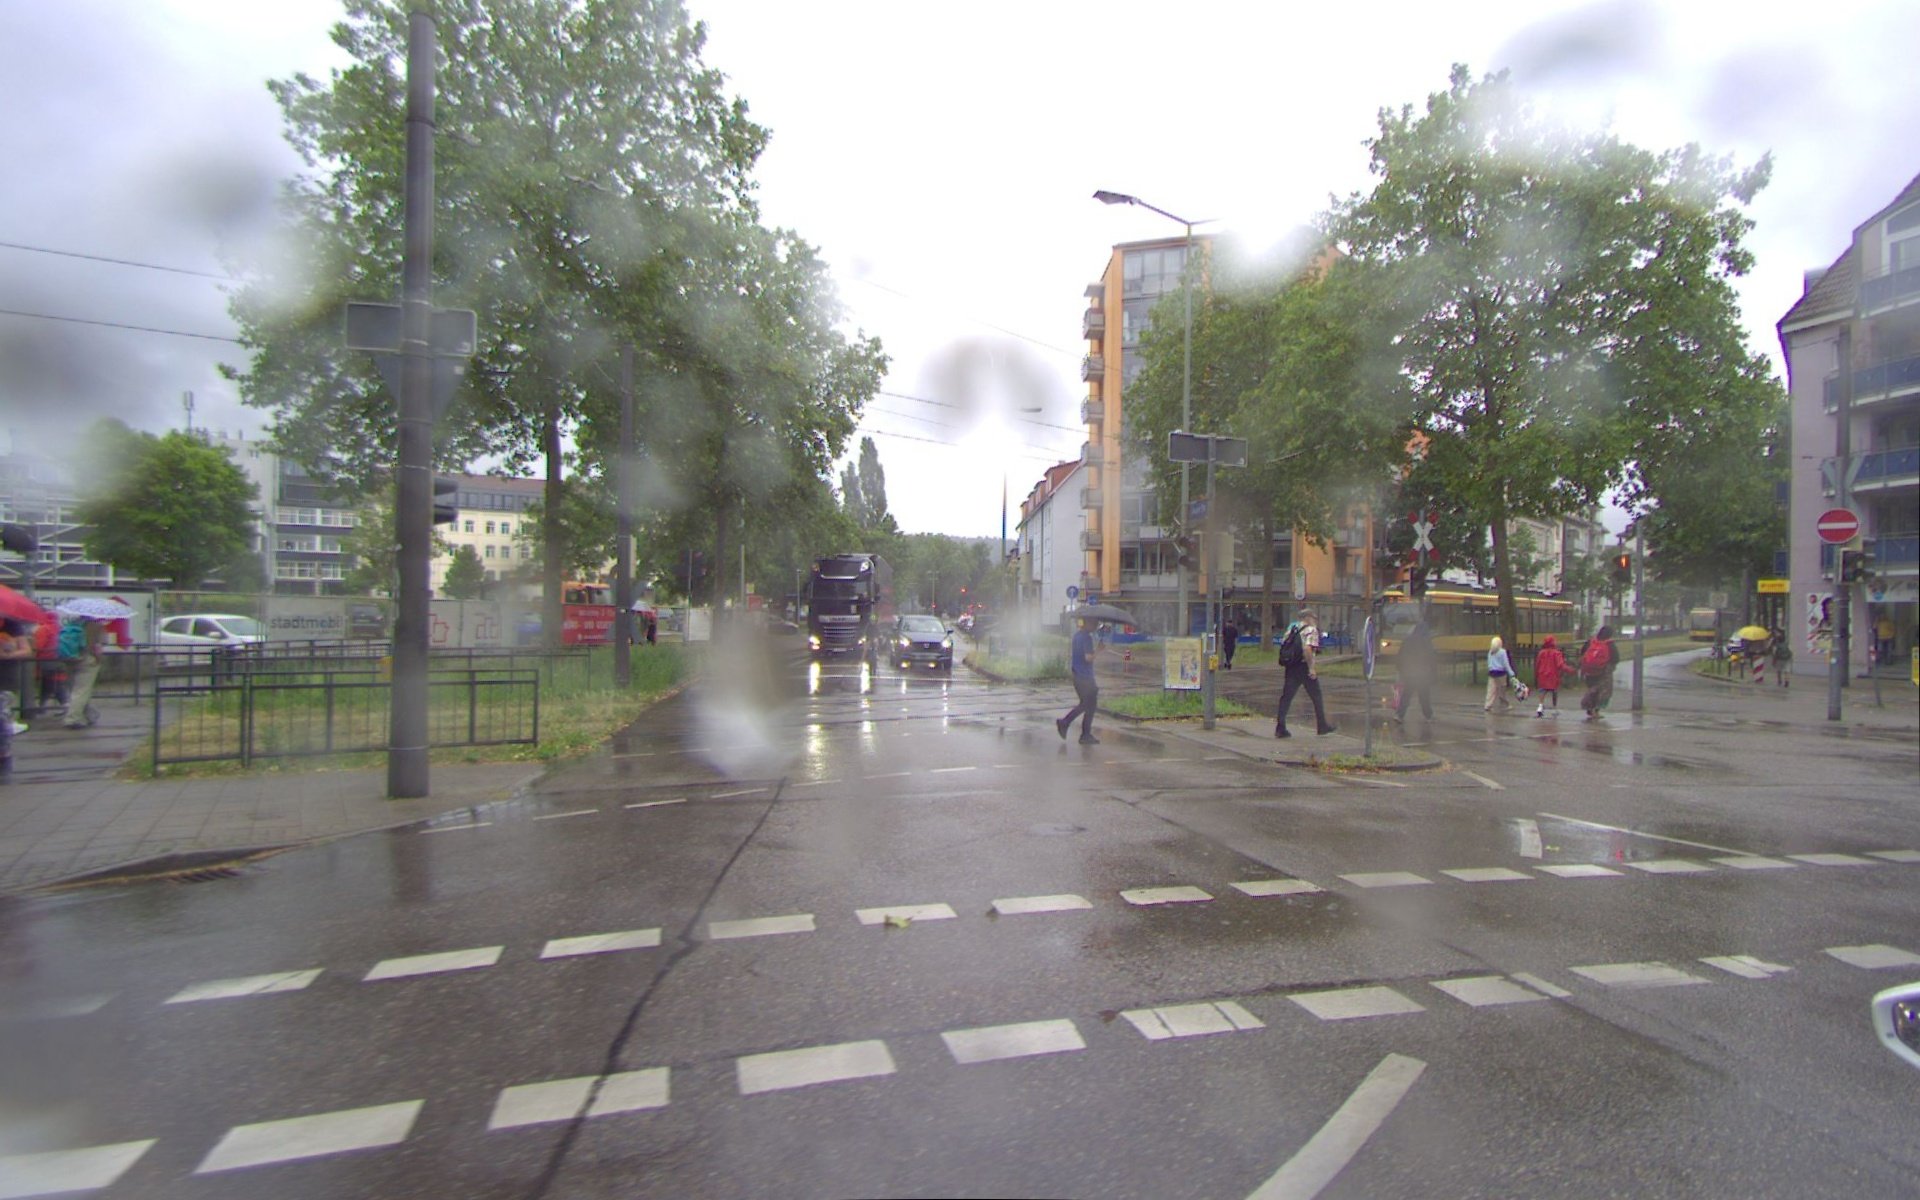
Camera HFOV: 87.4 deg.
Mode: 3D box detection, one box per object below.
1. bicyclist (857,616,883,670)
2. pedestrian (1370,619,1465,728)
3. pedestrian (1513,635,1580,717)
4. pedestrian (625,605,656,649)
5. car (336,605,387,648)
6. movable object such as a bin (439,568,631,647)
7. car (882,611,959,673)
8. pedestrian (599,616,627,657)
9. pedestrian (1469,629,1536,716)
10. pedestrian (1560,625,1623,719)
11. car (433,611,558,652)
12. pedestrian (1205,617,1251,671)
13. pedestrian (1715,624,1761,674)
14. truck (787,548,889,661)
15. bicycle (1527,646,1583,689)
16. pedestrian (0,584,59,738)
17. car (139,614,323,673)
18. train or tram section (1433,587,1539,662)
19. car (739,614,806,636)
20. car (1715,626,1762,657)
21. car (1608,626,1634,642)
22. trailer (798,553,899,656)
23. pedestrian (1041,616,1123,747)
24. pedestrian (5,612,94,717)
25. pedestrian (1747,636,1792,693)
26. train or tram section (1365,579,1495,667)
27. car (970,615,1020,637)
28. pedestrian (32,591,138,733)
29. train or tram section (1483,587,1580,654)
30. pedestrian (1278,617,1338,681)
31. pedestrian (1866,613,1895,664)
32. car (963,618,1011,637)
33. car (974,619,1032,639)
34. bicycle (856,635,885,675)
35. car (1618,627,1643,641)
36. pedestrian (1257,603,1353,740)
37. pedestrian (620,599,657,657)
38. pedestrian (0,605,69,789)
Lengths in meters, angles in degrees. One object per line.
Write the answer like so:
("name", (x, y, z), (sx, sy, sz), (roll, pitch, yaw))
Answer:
("bicyclist", (-2.521, 1.191, 28.060), (0.571, 1.480, 1.008), (0, -1, -14))
("pedestrian", (7.470, 1.168, 16.438), (1.039, 1.709, 0.992), (0, 0, -18))
("pedestrian", (10.544, 1.338, 18.060), (0.999, 1.400, 0.668), (0, 0, -32))
("pedestrian", (-12.209, 1.026, 38.397), (0.743, 1.671, 0.903), (0, -1, 42))
("car", (-27.765, 1.206, 46.692), (1.976, 1.816, 3.968), (1, 1, -30))
("movable object such as a bin", (-17.122, 0.286, 40.640), (6.640, 2.969, 2.777), (1, 0, 9))
("car", (-1.405, 1.341, 33.460), (2.042, 1.704, 4.923), (3, 0, -7))
("pedestrian", (-13.001, 1.354, 37.673), (0.630, 1.535, 0.772), (0, 0, 20))
("pedestrian", (10.191, 1.336, 18.862), (0.866, 1.546, 1.058), (0, 0, 43))
("pedestrian", (10.981, 1.236, 17.468), (0.754, 1.568, 0.686), (0, 0, -35))
("car", (-16.506, 1.099, 35.805), (3.591, 1.338, 1.845), (1, -1, 6))
("pedestrian", (9.313, 1.519, 34.932), (1.021, 1.812, 1.232), (1, -1, -17))
("pedestrian", (29.046, 1.823, 37.514), (1.144, 1.812, 0.894), (1, 0, 23))
("truck", (-4.788, 0.200, 40.823), (3.394, 4.133, 6.973), (1, 0, -2))
("bicycle", (15.378, 1.731, 25.947), (1.598, 1.091, 0.443), (1, -1, -27))
("pedestrian", (-12.071, 0.751, 12.619), (0.944, 1.887, 0.842), (0, 0, -29))
("car", (-18.491, 1.068, 25.538), (3.591, 1.338, 1.845), (1, -1, 12))
("train or tram section", (25.843, 1.192, 49.129), (2.608, 3.396, 8.331), (1, -1, 42))
("car", (-13.547, 1.813, 72.517), (4.293, 1.413, 1.995), (3, -2, -32))
("car", (44.499, 2.331, 57.393), (1.970, 1.695, 3.980), (0, -1, 41))
("car", (68.696, 3.522, 104.347), (1.968, 1.553, 3.984), (1, -1, 37))
("trailer", (-4.927, 0.261, 47.820), (3.386, 4.103, 15.048), (0, -1, -1))
("pedestrian", (1.544, 1.007, 12.802), (0.850, 1.602, 0.640), (0, 0, -18))
("pedestrian", (-13.753, 0.952, 15.204), (0.819, 1.525, 0.843), (0, 0, -29))
("pedestrian", (23.343, 1.845, 28.966), (0.980, 1.580, 0.780), (0, -1, 42))
("train or tram section", (20.257, 0.997, 42.970), (2.609, 3.414, 8.329), (1, -1, 43))
("car", (2.976, 2.203, 86.074), (4.165, 1.829, 1.943), (0, -1, -5))
("pedestrian", (-12.122, 0.830, 13.952), (0.944, 1.887, 0.842), (0, 0, -29))
("train or tram section", (31.958, 1.149, 55.937), (2.608, 3.396, 9.933), (1, -1, 42))
("pedestrian", (10.642, 1.484, 30.762), (1.154, 1.890, 1.381), (1, 0, -14))
("pedestrian", (30.189, 1.261, 32.943), (0.585, 1.623, 0.470), (1, 0, -22))
("car", (2.385, 2.414, 88.607), (4.122, 1.589, 1.888), (1, -1, -3))
("car", (3.378, 2.295, 79.636), (4.459, 1.489, 1.983), (0, -1, -2))
("bicycle", (-2.523, 1.521, 28.099), (0.524, 1.038, 1.869), (0, -1, -14))
("car", (72.551, 3.678, 108.648), (1.968, 1.416, 3.984), (1, -1, 37))
("pedestrian", (4.742, 0.943, 13.814), (0.981, 1.805, 0.806), (0, 0, -27))
("pedestrian", (-11.094, 0.959, 34.684), (0.894, 1.990, 1.215), (0, 0, -1))
("pedestrian", (-9.264, 0.905, 9.667), (0.850, 1.710, 0.843), (0, 0, -29))
